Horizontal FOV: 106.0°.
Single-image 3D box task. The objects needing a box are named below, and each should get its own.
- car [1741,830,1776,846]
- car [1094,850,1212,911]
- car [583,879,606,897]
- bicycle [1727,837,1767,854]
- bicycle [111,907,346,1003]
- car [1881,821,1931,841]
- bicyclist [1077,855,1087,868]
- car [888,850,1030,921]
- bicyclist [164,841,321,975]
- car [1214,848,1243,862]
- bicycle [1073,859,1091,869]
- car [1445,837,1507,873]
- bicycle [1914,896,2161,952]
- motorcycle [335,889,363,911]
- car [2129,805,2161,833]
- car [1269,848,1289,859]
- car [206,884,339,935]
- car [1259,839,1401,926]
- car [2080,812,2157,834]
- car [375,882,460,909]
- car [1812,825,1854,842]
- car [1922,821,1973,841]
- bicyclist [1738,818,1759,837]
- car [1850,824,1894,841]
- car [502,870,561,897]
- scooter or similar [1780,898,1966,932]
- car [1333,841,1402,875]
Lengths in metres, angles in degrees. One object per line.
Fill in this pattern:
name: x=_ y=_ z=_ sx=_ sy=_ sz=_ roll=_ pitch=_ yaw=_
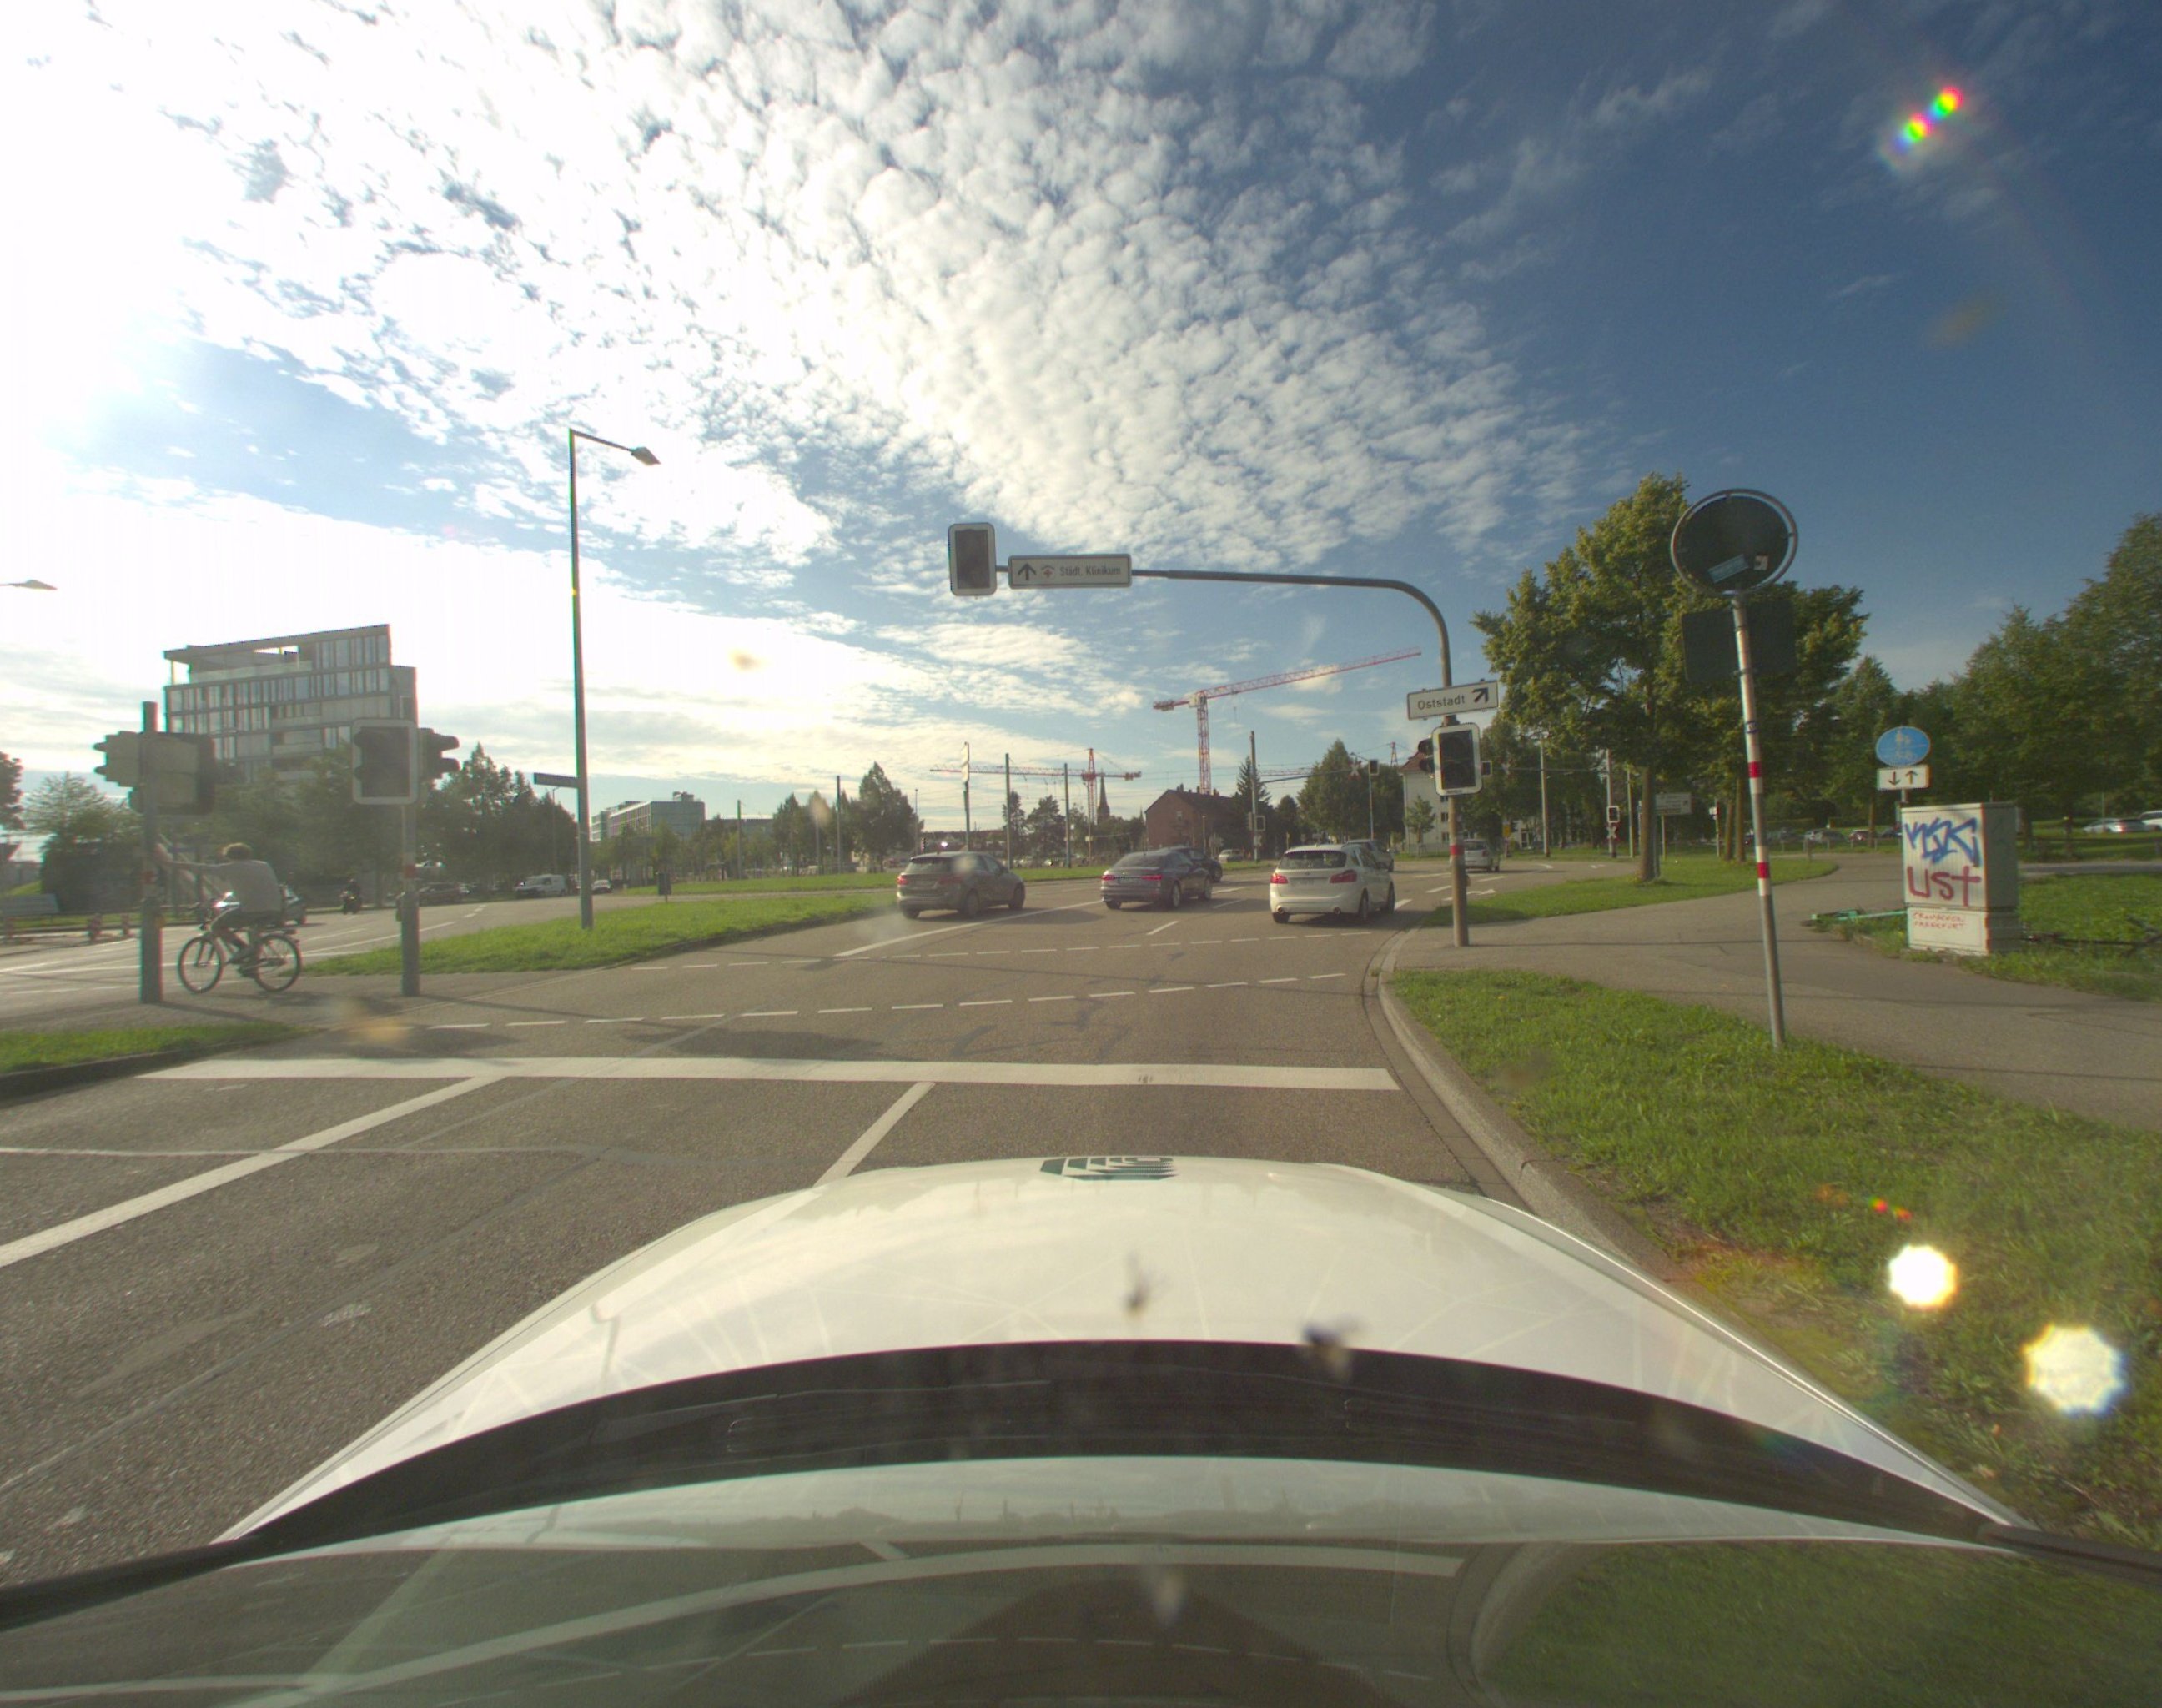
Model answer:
car: x=62.478 y=-1.491 z=75.128 sx=1.837 sy=1.359 sz=4.764 roll=-3 pitch=-1 yaw=32
car: x=2.093 y=0.648 z=22.056 sx=1.834 sy=1.445 sz=4.740 roll=-1 pitch=0 yaw=22
car: x=-46.515 y=3.265 z=77.860 sx=1.691 sy=1.501 sz=3.956 roll=-4 pitch=0 yaw=-30
bicycle: x=51.753 y=-0.641 z=63.280 sx=2.511 sy=1.222 sz=0.714 roll=-3 pitch=-1 yaw=0
bicycle: x=-10.527 y=1.228 z=10.114 sx=1.945 sy=1.007 sz=1.004 roll=-2 pitch=0 yaw=6
car: x=70.979 y=-1.946 z=70.131 sx=1.837 sy=1.515 sz=4.977 roll=-3 pitch=-1 yaw=32
bicyclist: x=0.114 y=0.904 z=101.992 sx=0.950 sy=1.575 sz=0.775 roll=-3 pitch=0 yaw=12
car: x=-2.894 y=0.720 z=20.275 sx=1.753 sy=1.572 sz=4.087 roll=-1 pitch=0 yaw=19
bicyclist: x=-10.342 y=0.638 z=10.087 sx=0.858 sy=1.556 sz=0.999 roll=-2 pitch=-1 yaw=6
car: x=21.250 y=0.186 z=116.929 sx=1.878 sy=1.903 sz=4.689 roll=-2 pitch=-1 yaw=42
bicycle: x=0.143 y=1.286 z=101.987 sx=2.129 sy=1.137 sz=0.775 roll=-3 pitch=0 yaw=11
car: x=17.319 y=0.037 z=35.562 sx=1.832 sy=1.426 sz=4.483 roll=-1 pitch=0 yaw=33
bicycle: x=9.846 y=0.680 z=7.953 sx=1.094 sy=0.346 sz=2.228 roll=-2 pitch=2 yaw=-32
motorcycle: x=-35.299 y=2.203 z=39.247 sx=1.998 sy=0.986 sz=0.789 roll=-1 pitch=1 yaw=42
car: x=83.633 y=-2.730 z=62.618 sx=2.287 sy=2.007 sz=5.146 roll=-3 pitch=-1 yaw=35
car: x=34.015 y=-0.123 z=139.794 sx=1.877 sy=1.903 sz=4.690 roll=-1 pitch=0 yaw=32
car: x=-28.586 y=1.894 z=28.975 sx=1.784 sy=1.501 sz=3.966 roll=-4 pitch=0 yaw=-21
car: x=5.376 y=0.521 z=17.181 sx=1.833 sy=1.572 sz=4.483 roll=-1 pitch=0 yaw=30
car: x=81.145 y=-2.393 z=63.806 sx=1.838 sy=1.515 sz=4.495 roll=-3 pitch=-1 yaw=25
car: x=-41.682 y=2.562 z=51.286 sx=1.753 sy=1.420 sz=4.008 roll=-2 pitch=0 yaw=7
car: x=67.189 y=-1.796 z=72.825 sx=1.837 sy=1.358 sz=4.864 roll=-3 pitch=-1 yaw=32
car: x=73.300 y=-1.932 z=68.990 sx=1.837 sy=1.515 sz=4.497 roll=-3 pitch=-1 yaw=32
bicyclist: x=51.674 y=-2.064 z=63.088 sx=0.999 sy=1.355 sz=0.714 roll=-3 pitch=-1 yaw=1
car: x=69.274 y=-1.887 z=71.393 sx=1.837 sy=1.363 sz=4.497 roll=-3 pitch=-1 yaw=32
car: x=-41.602 y=2.178 z=61.783 sx=1.679 sy=1.824 sz=4.550 roll=-4 pitch=0 yaw=-7
scooter or similar: x=10.514 y=0.798 z=10.848 sx=1.555 sy=0.281 sz=1.283 roll=-2 pitch=0 yaw=-23
car: x=13.536 y=0.160 z=38.296 sx=1.832 sy=1.478 sz=4.483 roll=-1 pitch=0 yaw=36
